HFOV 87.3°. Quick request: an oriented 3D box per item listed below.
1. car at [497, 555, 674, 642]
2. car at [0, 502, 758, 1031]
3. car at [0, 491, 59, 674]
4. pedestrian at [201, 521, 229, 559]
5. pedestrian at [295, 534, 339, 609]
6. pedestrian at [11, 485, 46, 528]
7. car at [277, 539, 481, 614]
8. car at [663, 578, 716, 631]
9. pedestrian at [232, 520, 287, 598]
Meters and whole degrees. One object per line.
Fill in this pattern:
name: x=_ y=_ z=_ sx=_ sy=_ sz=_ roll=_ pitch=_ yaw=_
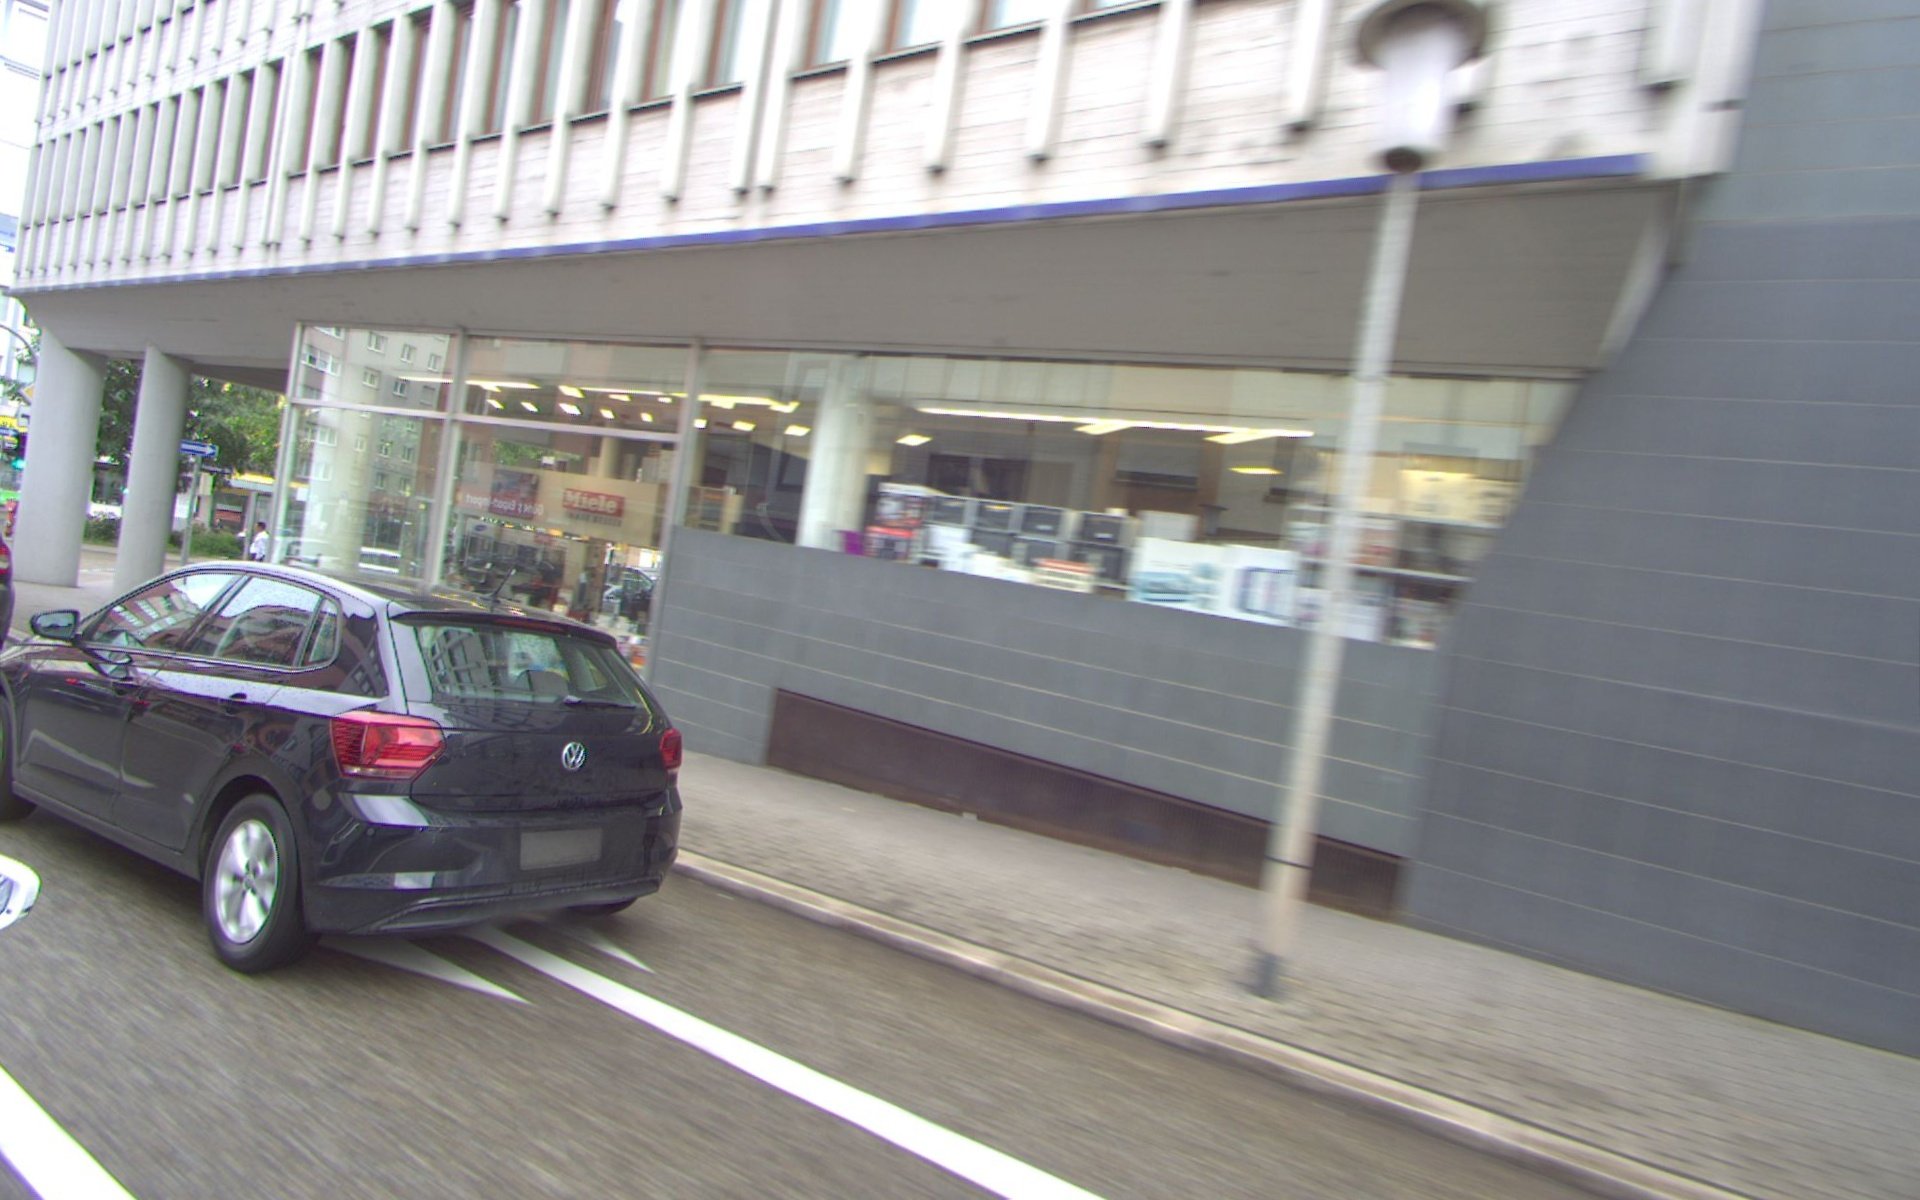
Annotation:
car: x=-11.394 y=-0.017 z=30.684 sx=4.744 sy=2.021 sz=1.951 roll=7 pitch=-1 yaw=-24
car: x=-3.129 y=0.524 z=4.873 sx=3.933 sy=1.492 sz=1.694 roll=6 pitch=-4 yaw=31
car: x=-11.357 y=-0.458 z=10.359 sx=4.434 sy=1.712 sz=1.902 roll=6 pitch=-5 yaw=34
pedestrian: x=-38.561 y=-3.092 z=52.107 sx=0.818 sy=1.847 sz=0.884 roll=11 pitch=-2 yaw=-30
pedestrian: x=-15.266 y=-0.680 z=23.882 sx=0.717 sy=1.711 sz=0.822 roll=5 pitch=1 yaw=-36
pedestrian: x=-46.087 y=-4.624 z=49.791 sx=0.818 sy=1.822 sz=1.029 roll=14 pitch=4 yaw=41
car: x=-17.004 y=-0.655 z=29.738 sx=4.780 sy=1.512 sz=1.851 roll=8 pitch=-1 yaw=-17
car: x=-10.943 y=0.139 z=40.939 sx=1.601 sy=1.657 sz=3.923 roll=8 pitch=3 yaw=-11
pedestrian: x=-17.499 y=-1.028 z=25.131 sx=0.815 sy=1.841 sz=0.723 roll=6 pitch=1 yaw=26
